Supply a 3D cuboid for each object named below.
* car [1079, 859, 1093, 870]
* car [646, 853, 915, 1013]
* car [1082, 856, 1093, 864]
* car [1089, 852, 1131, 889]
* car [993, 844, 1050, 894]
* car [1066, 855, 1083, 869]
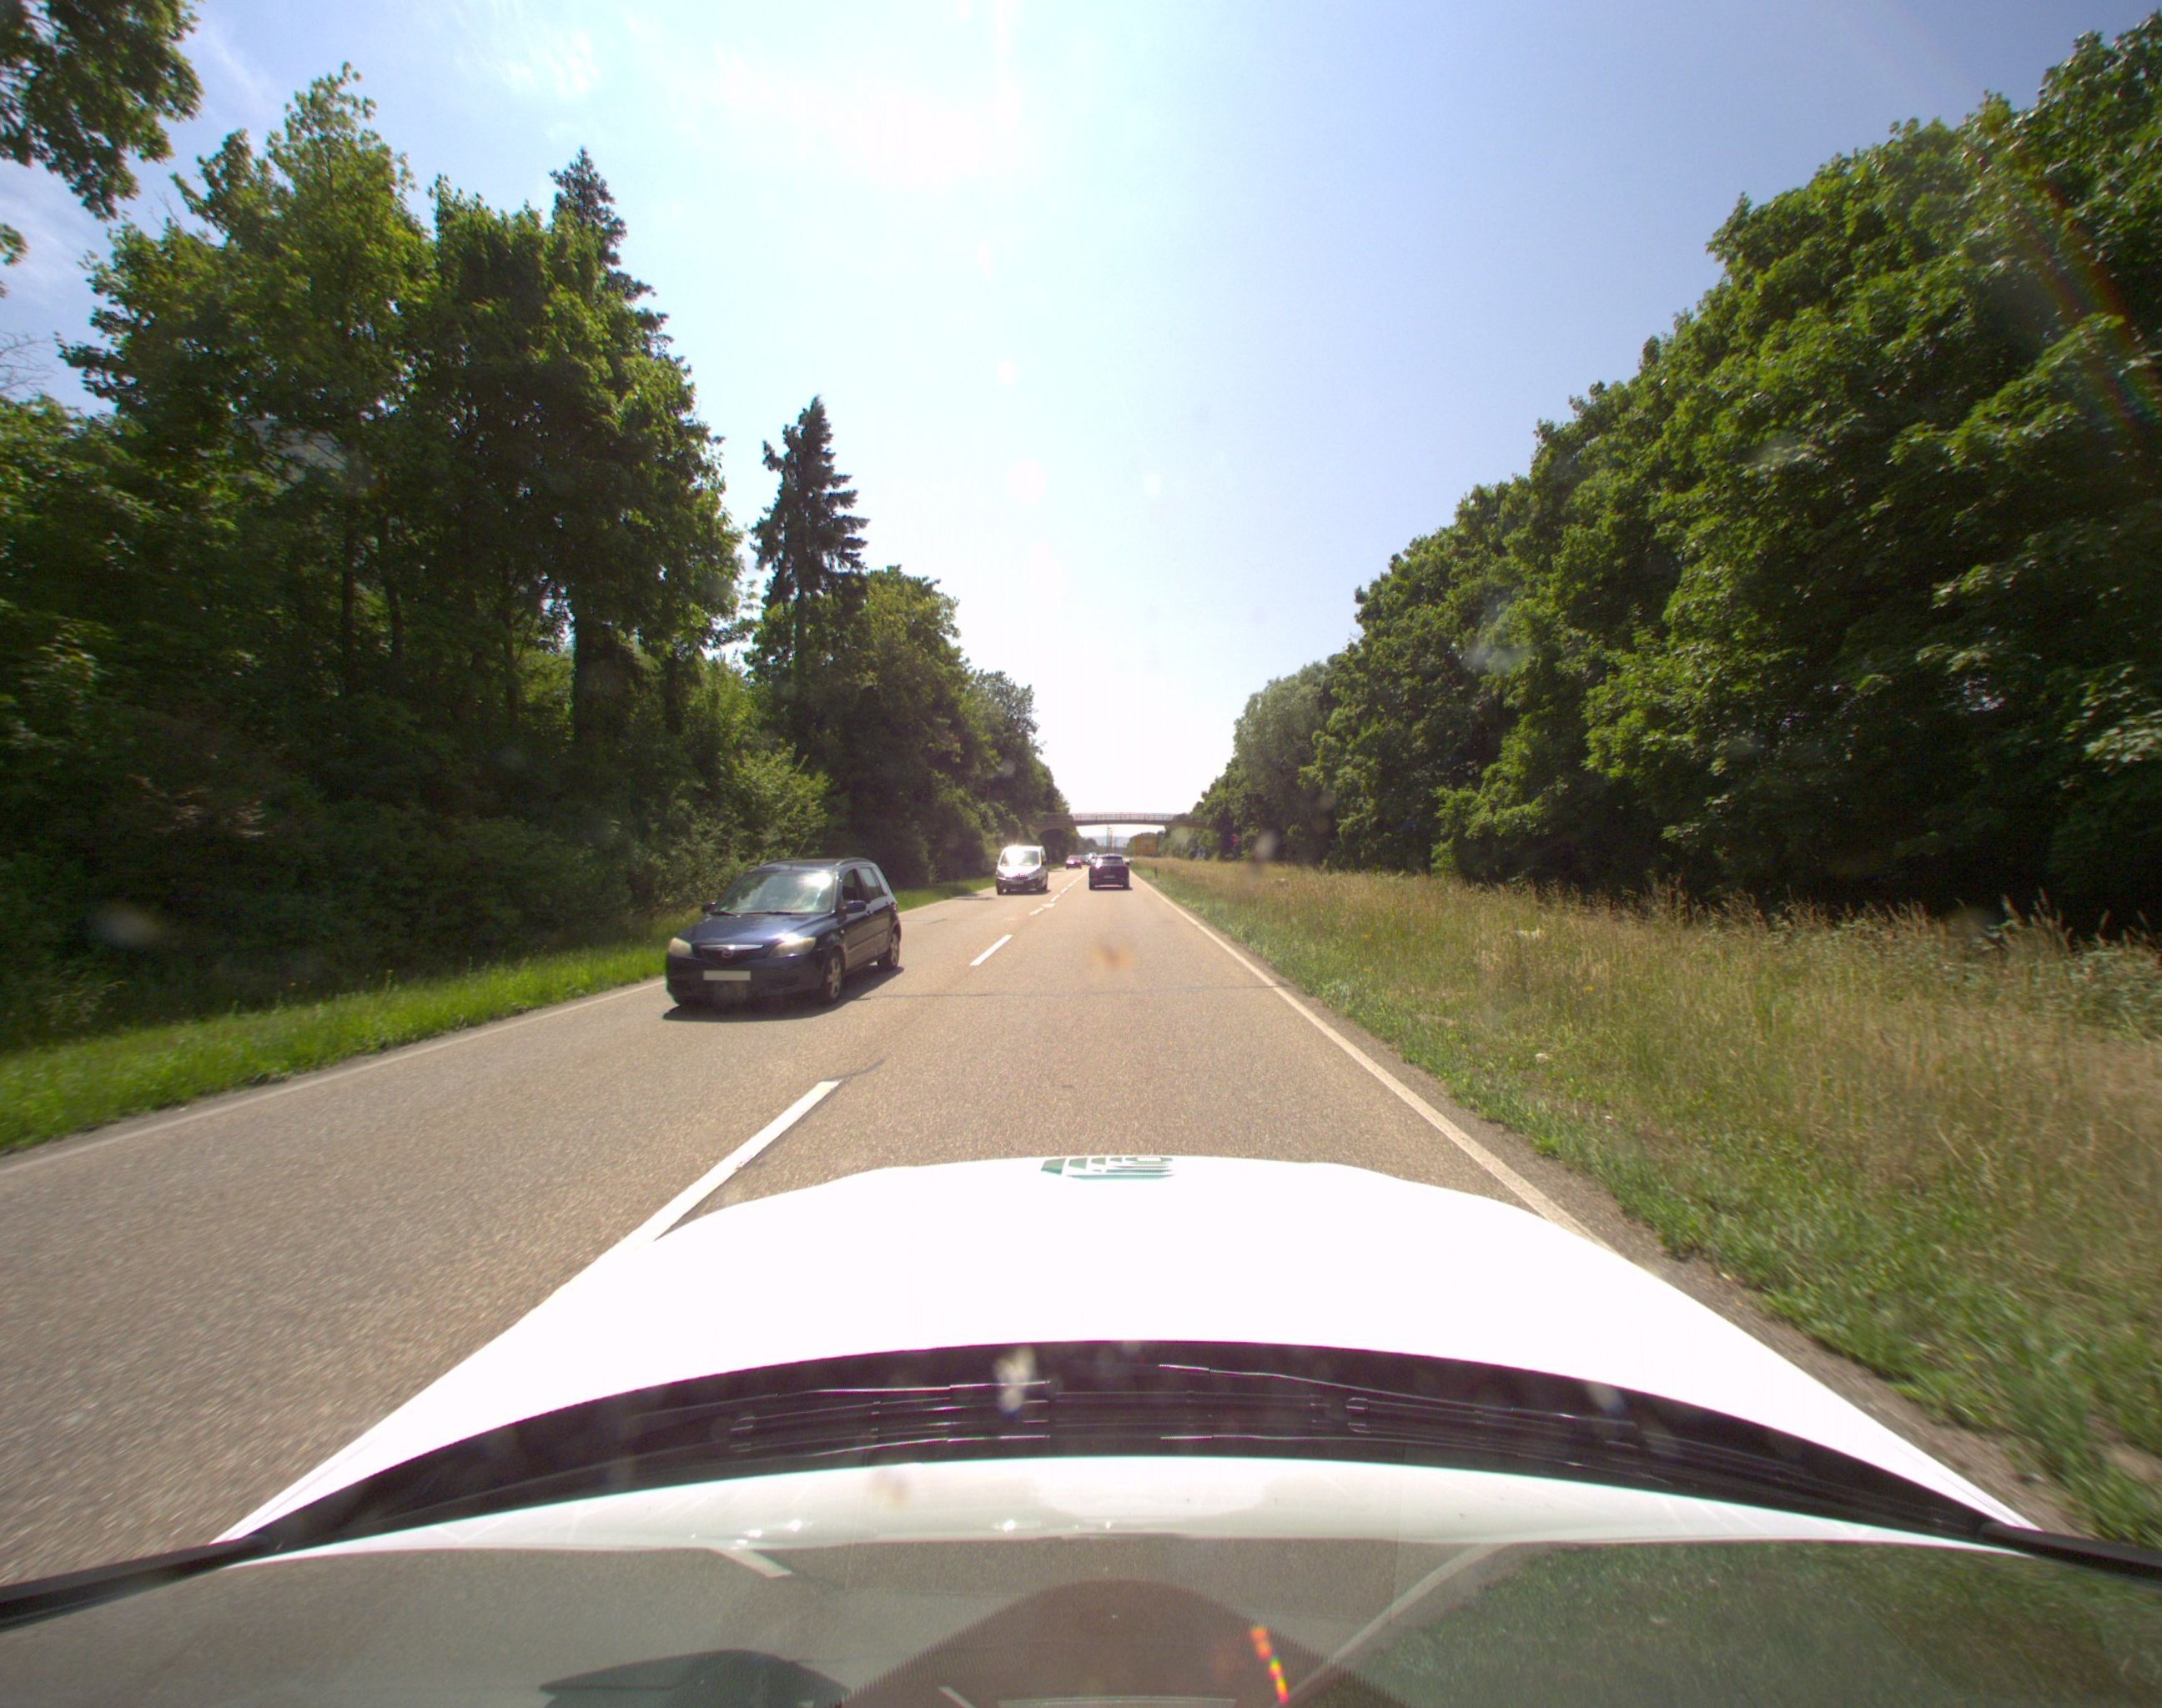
[{"bbox_3d":[0.772,1.530,116.984,1.776,1.449,4.113,-1,0,3],"label":"car"},{"bbox_3d":[-3.304,0.774,9.833,1.666,1.518,4.001,-1,0,1],"label":"car"},{"bbox_3d":[1.200,1.049,149.855,1.670,1.433,3.775,-2,0,3],"label":"car"},{"bbox_3d":[1.320,0.726,36.711,1.748,1.556,4.002,0,-1,2],"label":"car"},{"bbox_3d":[-2.411,0.604,34.131,1.868,1.929,4.989,-1,0,2],"label":"car"},{"bbox_3d":[-0.718,0.897,90.635,1.676,1.493,4.002,-1,0,2],"label":"car"}]
